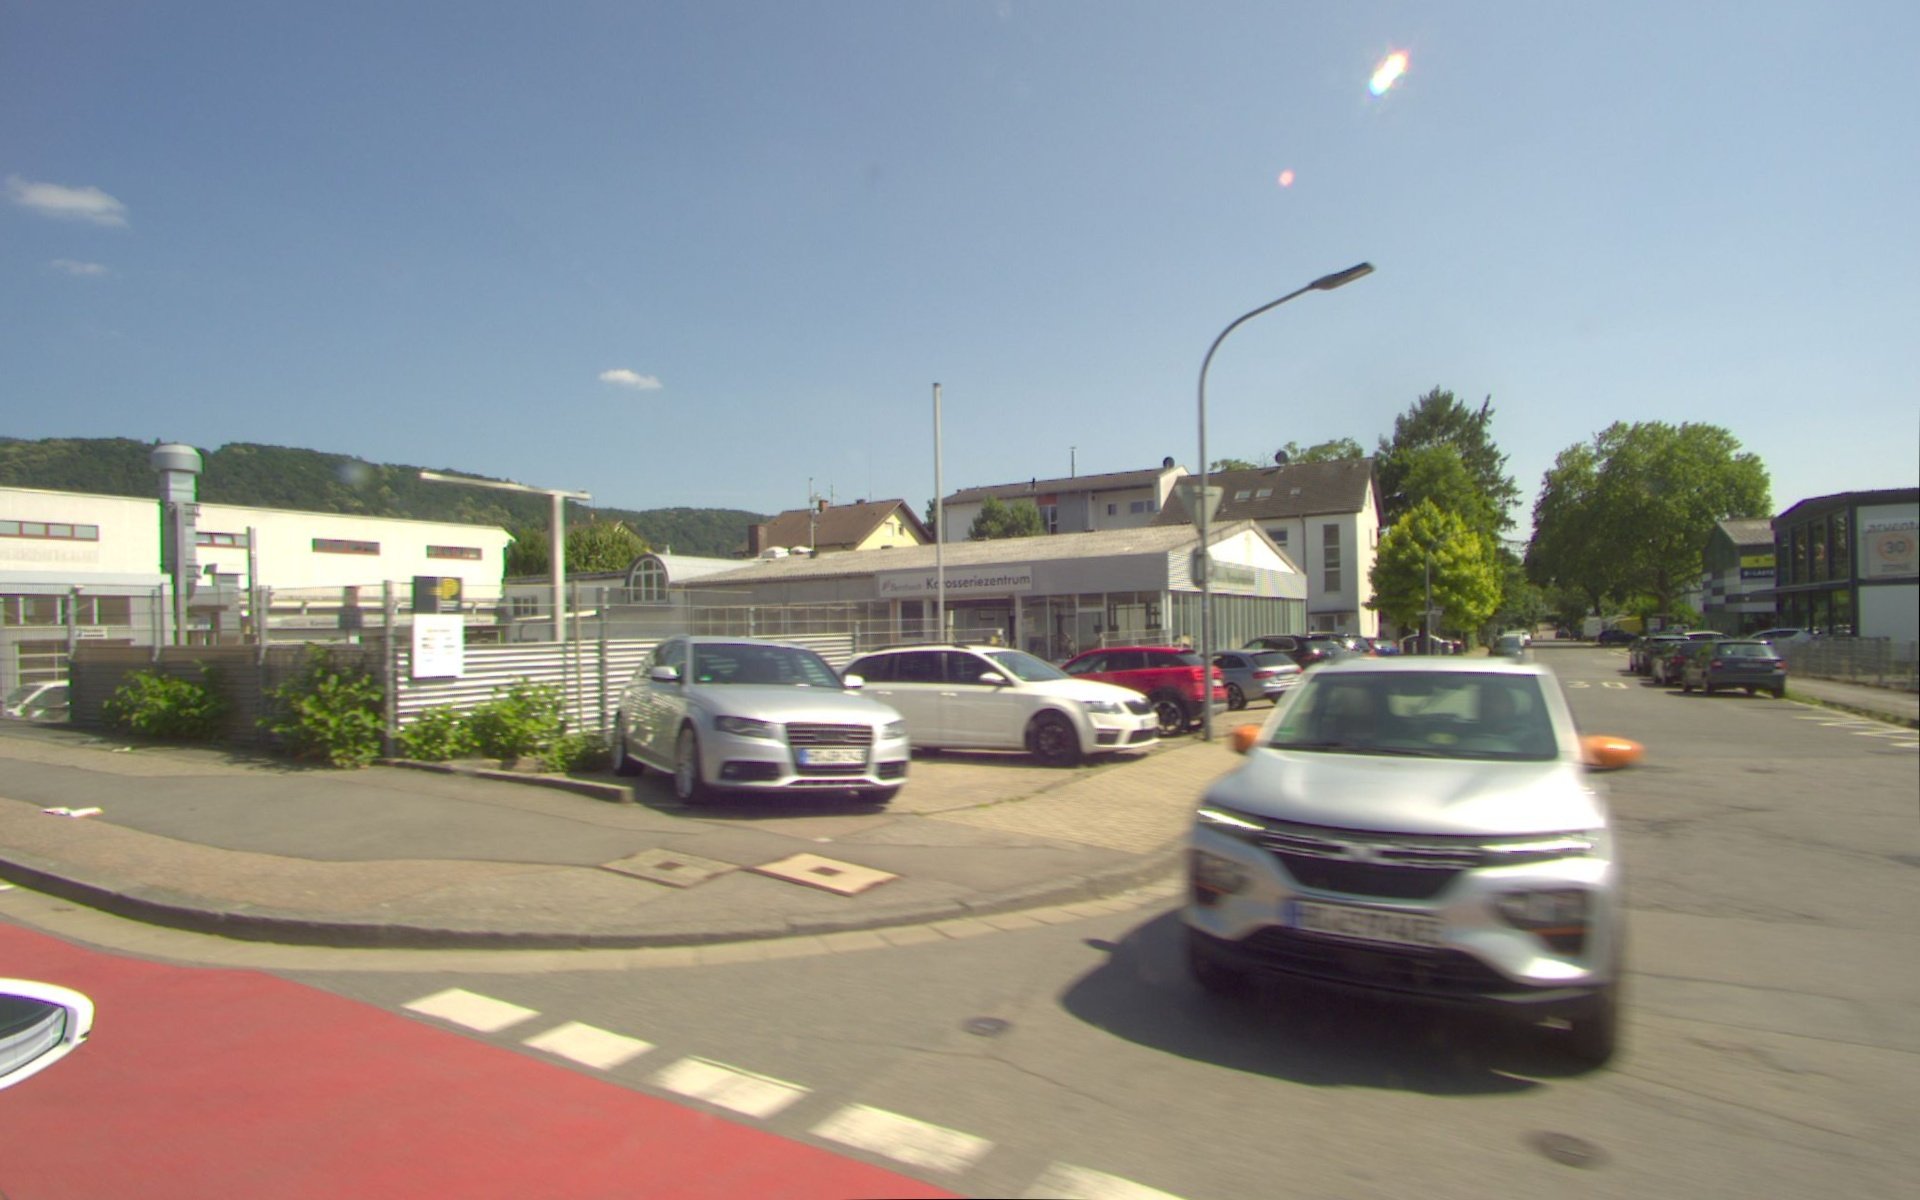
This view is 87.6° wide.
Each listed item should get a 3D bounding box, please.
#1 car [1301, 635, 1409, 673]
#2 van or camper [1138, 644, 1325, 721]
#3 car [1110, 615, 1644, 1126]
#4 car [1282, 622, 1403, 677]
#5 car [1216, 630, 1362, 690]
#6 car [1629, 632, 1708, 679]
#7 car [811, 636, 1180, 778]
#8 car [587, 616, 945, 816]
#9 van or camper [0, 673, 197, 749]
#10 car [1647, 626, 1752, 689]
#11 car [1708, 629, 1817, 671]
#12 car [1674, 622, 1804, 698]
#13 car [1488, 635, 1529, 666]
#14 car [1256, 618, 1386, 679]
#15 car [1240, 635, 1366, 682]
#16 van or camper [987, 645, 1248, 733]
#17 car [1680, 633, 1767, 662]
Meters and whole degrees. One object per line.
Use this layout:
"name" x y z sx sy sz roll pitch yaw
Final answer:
"car" 16.726 2.310 42.577 1.729 1.504 3.974 2 -4 -36
"van or camper" 6.673 1.998 25.016 1.972 1.563 4.206 -5 0 -33
"car" 2.274 0.958 5.000 1.703 1.502 3.662 -1 -5 32
"car" 14.849 1.953 39.049 1.976 2.038 3.974 2 -4 -36
"car" 10.036 1.785 30.826 1.972 1.668 3.979 2 -2 -30
"car" 28.305 2.176 40.111 1.968 1.794 3.987 -1 -2 27
"car" 0.398 1.241 12.923 4.439 1.524 1.845 -1 -1 30
"car" -2.063 1.012 9.351 1.931 1.374 4.478 4 -6 -29
"van or camper" -23.555 2.905 27.022 1.988 1.672 4.314 -1 -2 26
"car" 23.022 1.766 31.331 1.968 1.816 3.988 0 -2 27
"car" 38.516 2.362 48.187 3.946 1.929 1.753 -1 0 35
"car" 20.653 1.517 26.725 1.968 1.817 3.986 0 -1 27
"car" 30.476 2.755 55.706 1.969 1.572 3.984 0 -1 28
"car" 12.878 1.765 35.892 1.976 2.038 3.974 2 -4 -36
"car" 11.491 1.981 33.765 1.769 1.482 3.807 2 -4 -30
"van or camper" 2.795 1.574 17.841 4.165 1.366 1.995 -1 -7 29
"car" 45.652 2.810 59.964 3.943 1.671 1.754 -1 -1 32
